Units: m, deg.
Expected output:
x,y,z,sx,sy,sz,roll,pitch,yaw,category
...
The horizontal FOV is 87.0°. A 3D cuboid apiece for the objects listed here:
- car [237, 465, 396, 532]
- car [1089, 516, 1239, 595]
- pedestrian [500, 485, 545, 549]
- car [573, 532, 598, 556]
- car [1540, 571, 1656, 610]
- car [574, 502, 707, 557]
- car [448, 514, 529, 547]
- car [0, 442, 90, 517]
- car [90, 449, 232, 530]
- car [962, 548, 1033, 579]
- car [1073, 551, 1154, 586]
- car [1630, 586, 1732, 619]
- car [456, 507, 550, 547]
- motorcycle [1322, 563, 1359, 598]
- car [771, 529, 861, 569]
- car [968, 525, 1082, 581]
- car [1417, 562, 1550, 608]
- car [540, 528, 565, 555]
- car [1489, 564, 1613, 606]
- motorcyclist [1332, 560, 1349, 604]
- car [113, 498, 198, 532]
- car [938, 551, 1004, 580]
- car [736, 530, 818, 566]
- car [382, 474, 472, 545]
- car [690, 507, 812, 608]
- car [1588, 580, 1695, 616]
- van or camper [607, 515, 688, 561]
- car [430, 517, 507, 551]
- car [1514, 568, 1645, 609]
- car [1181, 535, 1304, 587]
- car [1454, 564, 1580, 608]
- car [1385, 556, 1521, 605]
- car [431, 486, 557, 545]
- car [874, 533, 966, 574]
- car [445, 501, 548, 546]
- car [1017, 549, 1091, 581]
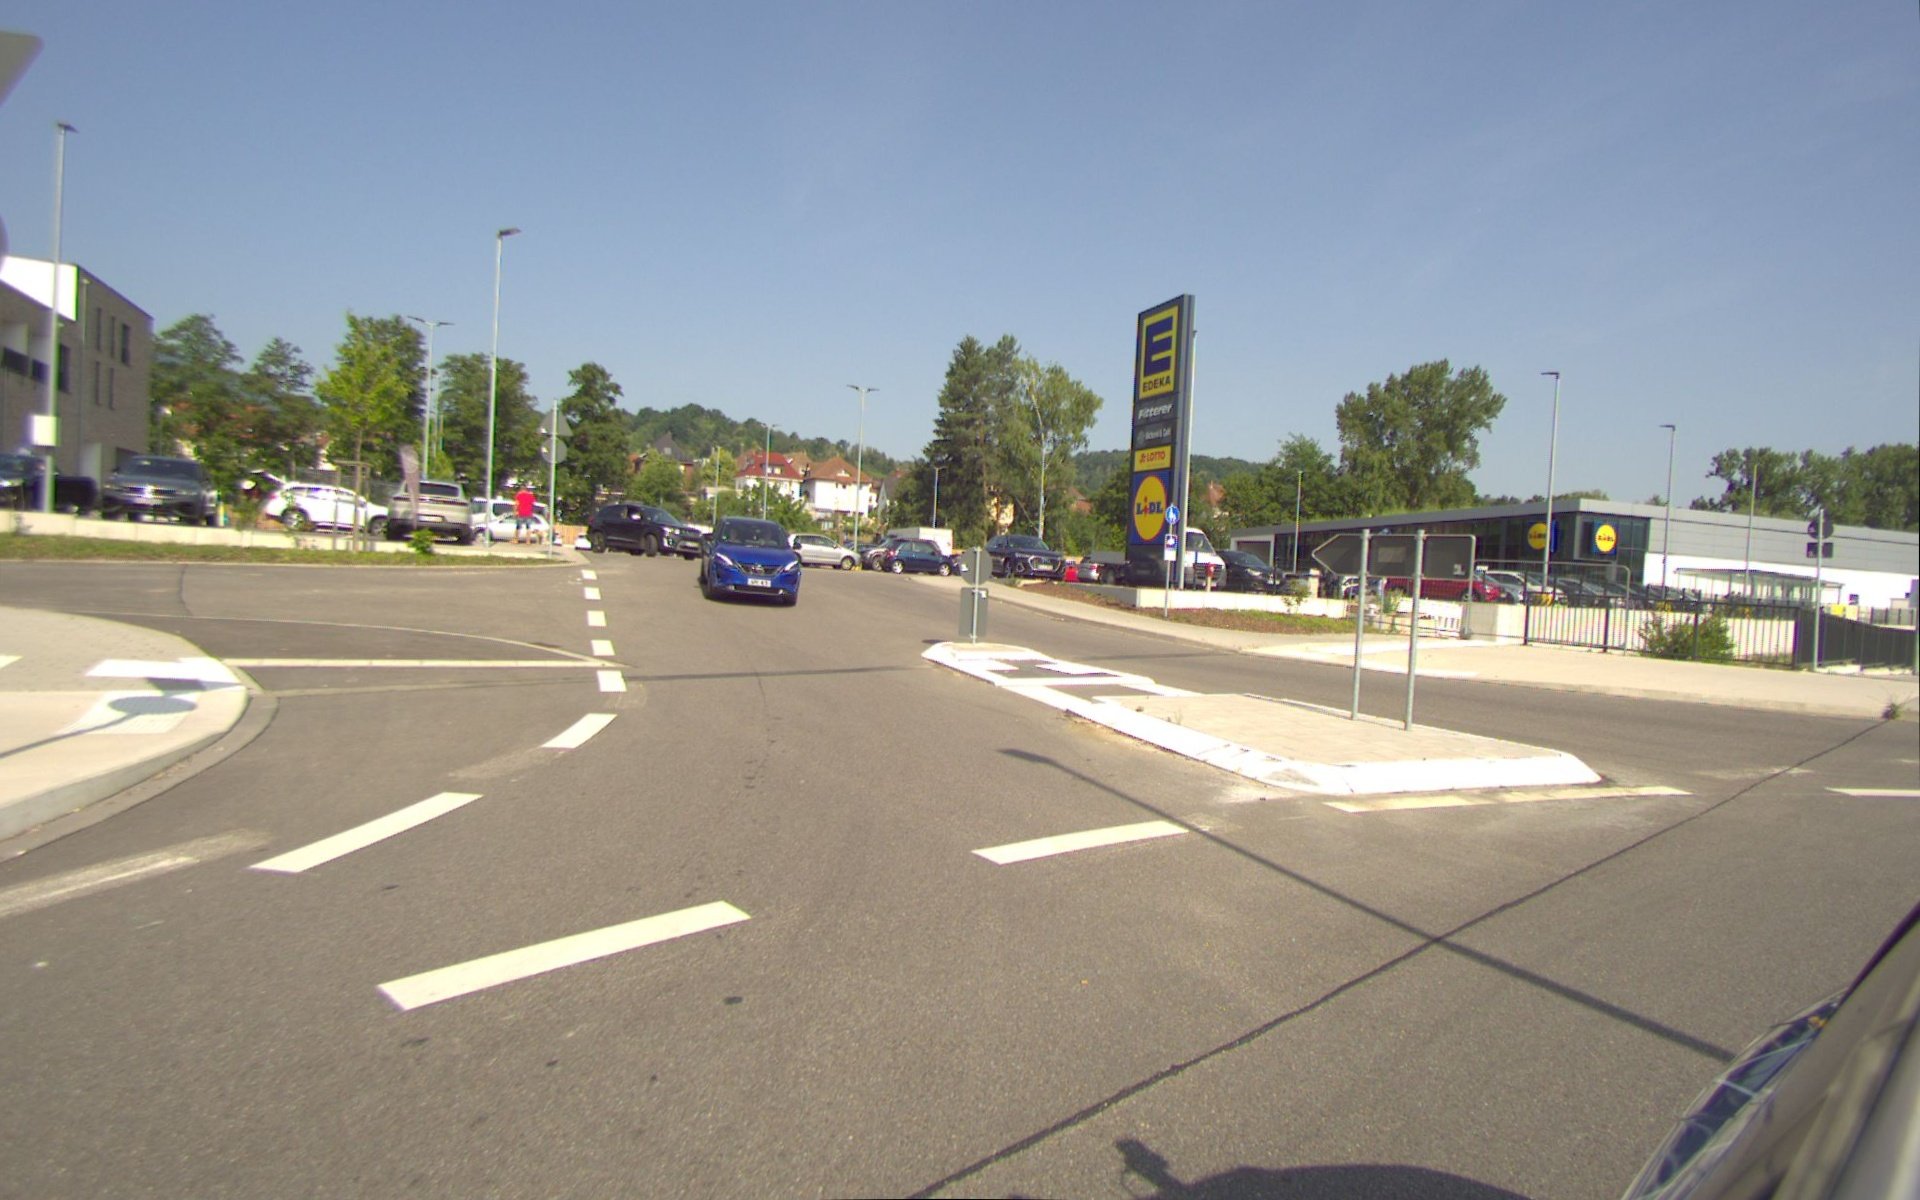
x,y,z,sx,sy,sz,roll,pitch,yaw,category
-22.628,-3.527,35.837,4.484,1.903,2.004,2,1,-27,car
6.881,-1.430,35.058,2.017,2.414,6.104,2,0,-22,car
-12.686,-2.393,29.354,0.748,1.763,0.875,2,-1,20,pedestrian
-30.131,-4.471,81.356,1.699,1.683,4.008,2,0,-23,car
27.958,-0.438,44.403,1.674,1.594,3.993,3,-1,-42,car
-9.912,-2.194,31.264,4.204,1.409,1.624,7,4,34,car
-25.835,-3.786,55.449,3.740,1.490,1.772,2,-1,-36,car
-22.094,-2.849,23.497,1.820,1.574,4.471,5,3,-28,car
-19.186,-2.642,24.509,1.820,1.574,4.471,5,3,-28,car
2.192,-2.122,59.385,3.708,1.594,1.766,2,-1,-25,car
7.812,-1.569,51.506,3.708,1.594,1.669,2,-1,-25,car
37.965,0.095,53.376,1.674,1.594,4.124,3,-1,-42,car
-18.610,-2.948,41.247,3.268,1.368,1.629,1,1,-34,car
13.645,-0.675,36.362,0.580,1.206,1.902,3,0,1,motorcycle
-6.234,-2.190,43.803,3.555,1.464,1.528,2,-1,-24,car
2.013,-1.454,32.990,1.882,1.550,4.870,2,0,-20,car
19.381,-0.562,37.608,1.747,1.594,4.018,3,-1,-39,car
-32.460,-4.630,80.496,1.730,1.839,4.008,2,0,-23,car
23.962,-0.609,41.122,1.674,1.594,3.993,3,-1,-42,car
13.857,-0.658,36.851,0.510,1.562,0.576,2,-1,27,motorcyclist
-41.709,-4.384,52.543,3.268,1.368,1.628,2,-1,-35,car
0.669,-2.159,63.488,3.708,1.594,1.766,2,-1,-25,car
-8.350,-2.356,46.125,3.299,1.391,1.527,3,1,-33,car
-14.325,-2.461,27.424,1.819,1.574,4.834,5,3,-25,car
-4.530,-0.979,21.378,1.847,1.682,4.368,3,5,-20,car
32.789,-0.128,48.784,1.674,1.594,3.993,3,-1,-42,car
-22.392,-4.376,72.503,5.176,2.884,2.299,2,-1,-25,van or camper
-29.140,-3.880,59.965,3.919,1.696,2.002,2,-1,-30,car
26.035,-0.521,42.645,1.674,1.594,4.408,3,-1,-42,car
9.827,-1.296,35.593,1.794,1.622,4.486,2,0,-21,car
21.751,-0.561,39.602,1.674,1.594,3.993,3,-1,-42,car
17.646,-0.698,36.339,1.747,1.594,4.018,3,-1,-39,car
-19.961,-3.562,43.429,4.559,2.039,2.000,2,-1,-36,car
-1.818,-2.096,45.819,3.708,1.594,1.766,2,-1,-25,car
-20.873,-3.417,45.609,3.924,1.661,1.873,2,-1,-36,car
5.244,-1.922,56.362,3.708,1.594,1.766,2,-1,-25,car
